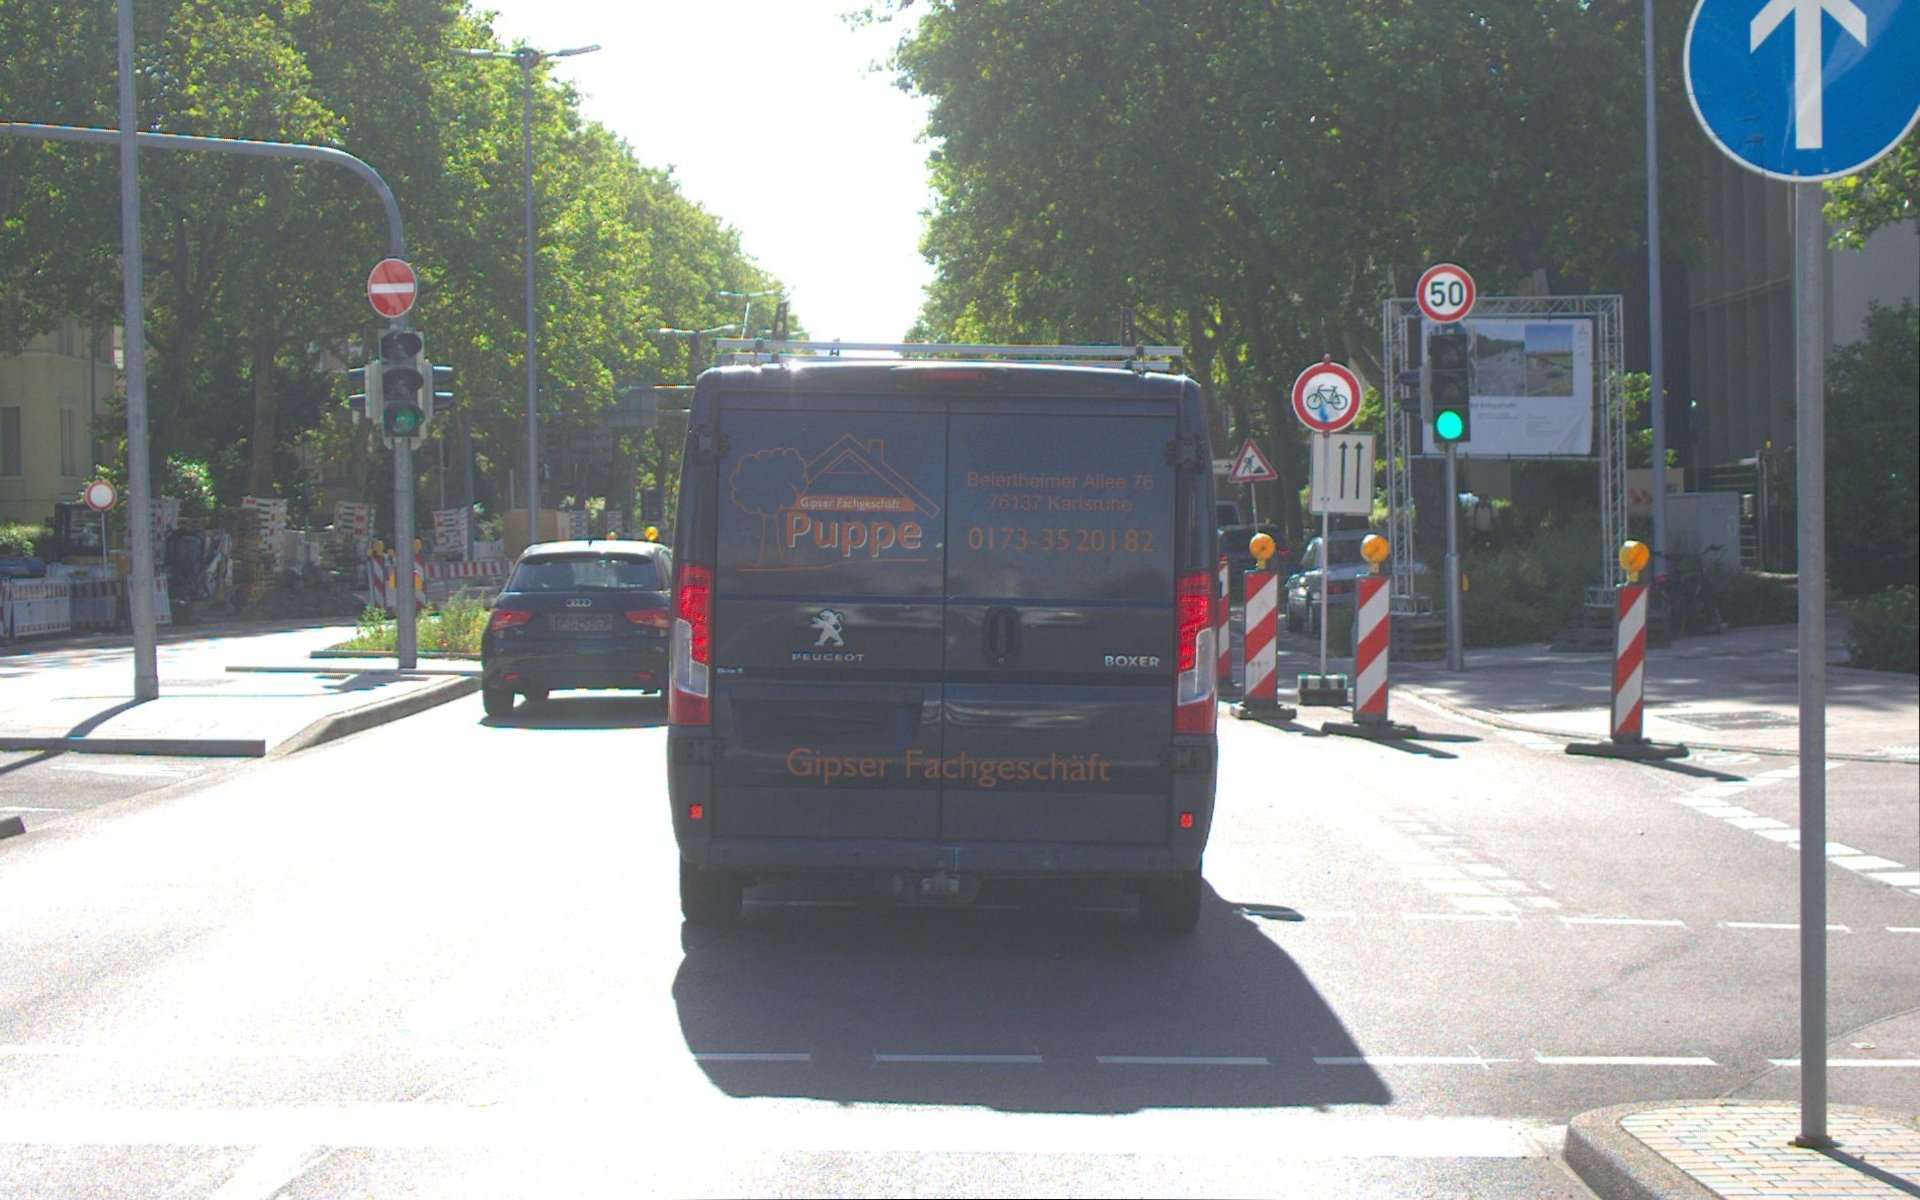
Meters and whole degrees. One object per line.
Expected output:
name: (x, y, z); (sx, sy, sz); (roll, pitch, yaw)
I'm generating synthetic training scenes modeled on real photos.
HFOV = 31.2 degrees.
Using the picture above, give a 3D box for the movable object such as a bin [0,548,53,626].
movable object such as a bin: (-17.782, -0.248, 63.755); (1.629, 1.418, 1.263); (-1, 1, -25)

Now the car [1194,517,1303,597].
car: (5.644, -0.863, 67.698); (1.763, 1.503, 4.251); (-1, 1, 0)

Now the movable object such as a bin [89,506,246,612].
movable object such as a bin: (-17.964, -0.952, 78.221); (1.994, 2.271, 5.599); (-2, 1, 2)

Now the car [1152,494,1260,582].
car: (5.640, -1.443, 79.369); (2.026, 1.940, 5.274); (-1, 1, -1)

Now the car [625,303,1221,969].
car: (-0.161, 0.082, 14.105); (2.095, 2.347, 3.933); (0, 1, -1)

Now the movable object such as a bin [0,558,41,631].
movable object such as a bin: (-17.259, -0.099, 61.933); (0.979, 1.266, 1.540); (-1, 1, 0)

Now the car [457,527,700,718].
car: (-3.177, 0.138, 29.256); (1.746, 1.402, 4.001); (0, 3, -2)

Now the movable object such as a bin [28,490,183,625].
movable object such as a bin: (-17.838, -0.920, 72.037); (2.146, 2.697, 5.356); (-1, 1, -3)

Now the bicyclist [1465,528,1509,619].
bicyclist: (10.629, -0.548, 69.381); (0.724, 1.814, 1.071); (-1, 1, 1)

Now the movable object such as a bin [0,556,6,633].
movable object such as a bin: (-17.394, -0.087, 59.597); (1.410, 1.333, 0.936); (-1, 1, 2)

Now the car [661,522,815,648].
car: (-2.672, -0.217, 42.070); (1.746, 1.402, 4.001); (0, 2, -2)

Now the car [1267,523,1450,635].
car: (5.554, -0.339, 48.476); (1.852, 1.474, 4.943); (-1, 1, -2)

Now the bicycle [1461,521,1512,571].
bicycle: (10.605, -1.096, 69.280); (0.782, 0.963, 1.823); (-1, 1, 2)

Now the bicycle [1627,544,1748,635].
bicycle: (8.422, -0.139, 39.747); (0.588, 1.001, 2.127); (0, 2, 35)

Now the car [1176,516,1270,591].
car: (5.540, -0.994, 72.688); (1.657, 1.535, 4.129); (0, 1, 0)
